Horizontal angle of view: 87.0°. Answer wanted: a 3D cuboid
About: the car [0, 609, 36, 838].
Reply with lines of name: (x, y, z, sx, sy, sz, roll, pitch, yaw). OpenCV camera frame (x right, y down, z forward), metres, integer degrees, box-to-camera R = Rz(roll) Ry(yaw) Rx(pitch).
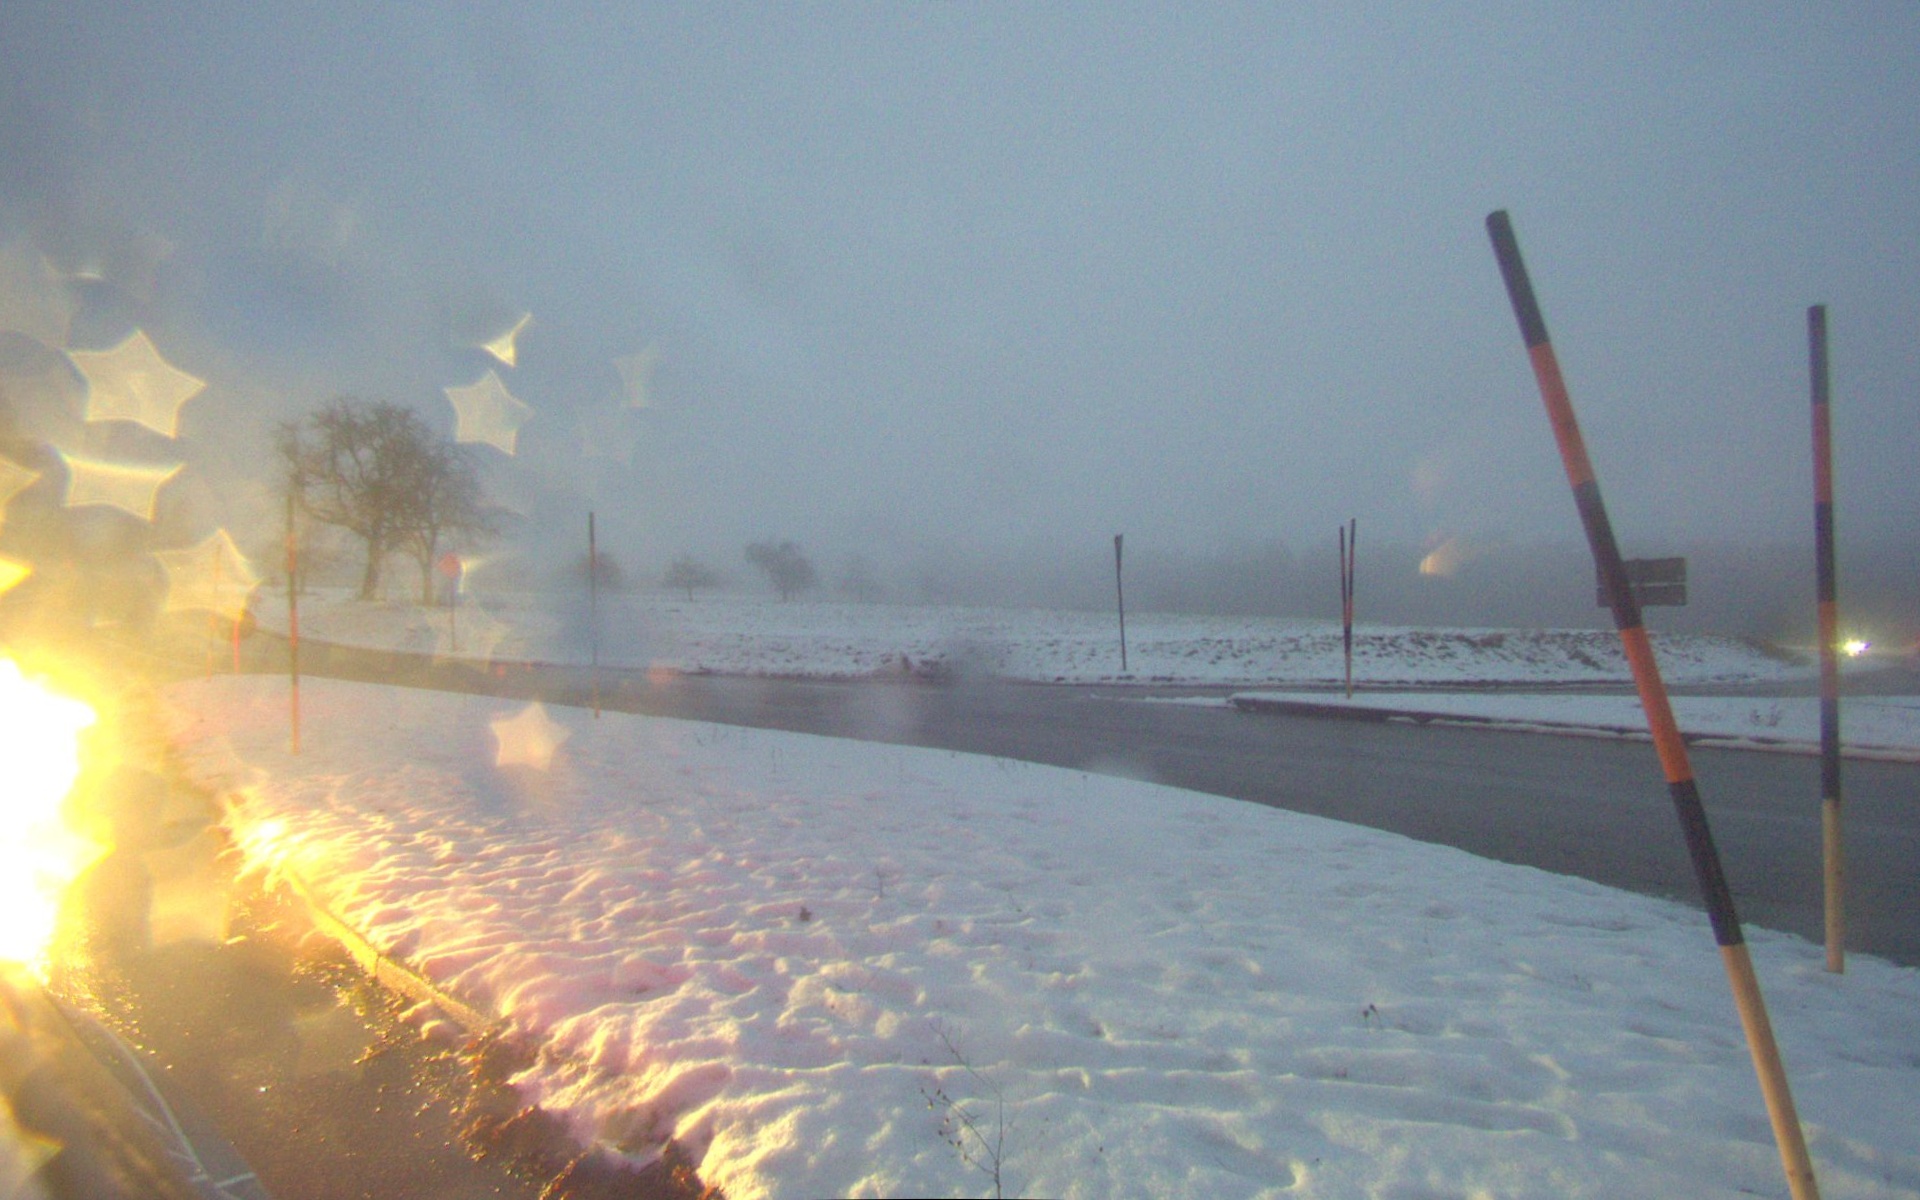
car: (-7.864, 0.809, 7.329, 1.700, 1.445, 3.681, -1, 0, -42)

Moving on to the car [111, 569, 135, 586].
car: (-93.624, -2.474, 113.196, 1.969, 1.820, 4.006, -1, 1, -41)
